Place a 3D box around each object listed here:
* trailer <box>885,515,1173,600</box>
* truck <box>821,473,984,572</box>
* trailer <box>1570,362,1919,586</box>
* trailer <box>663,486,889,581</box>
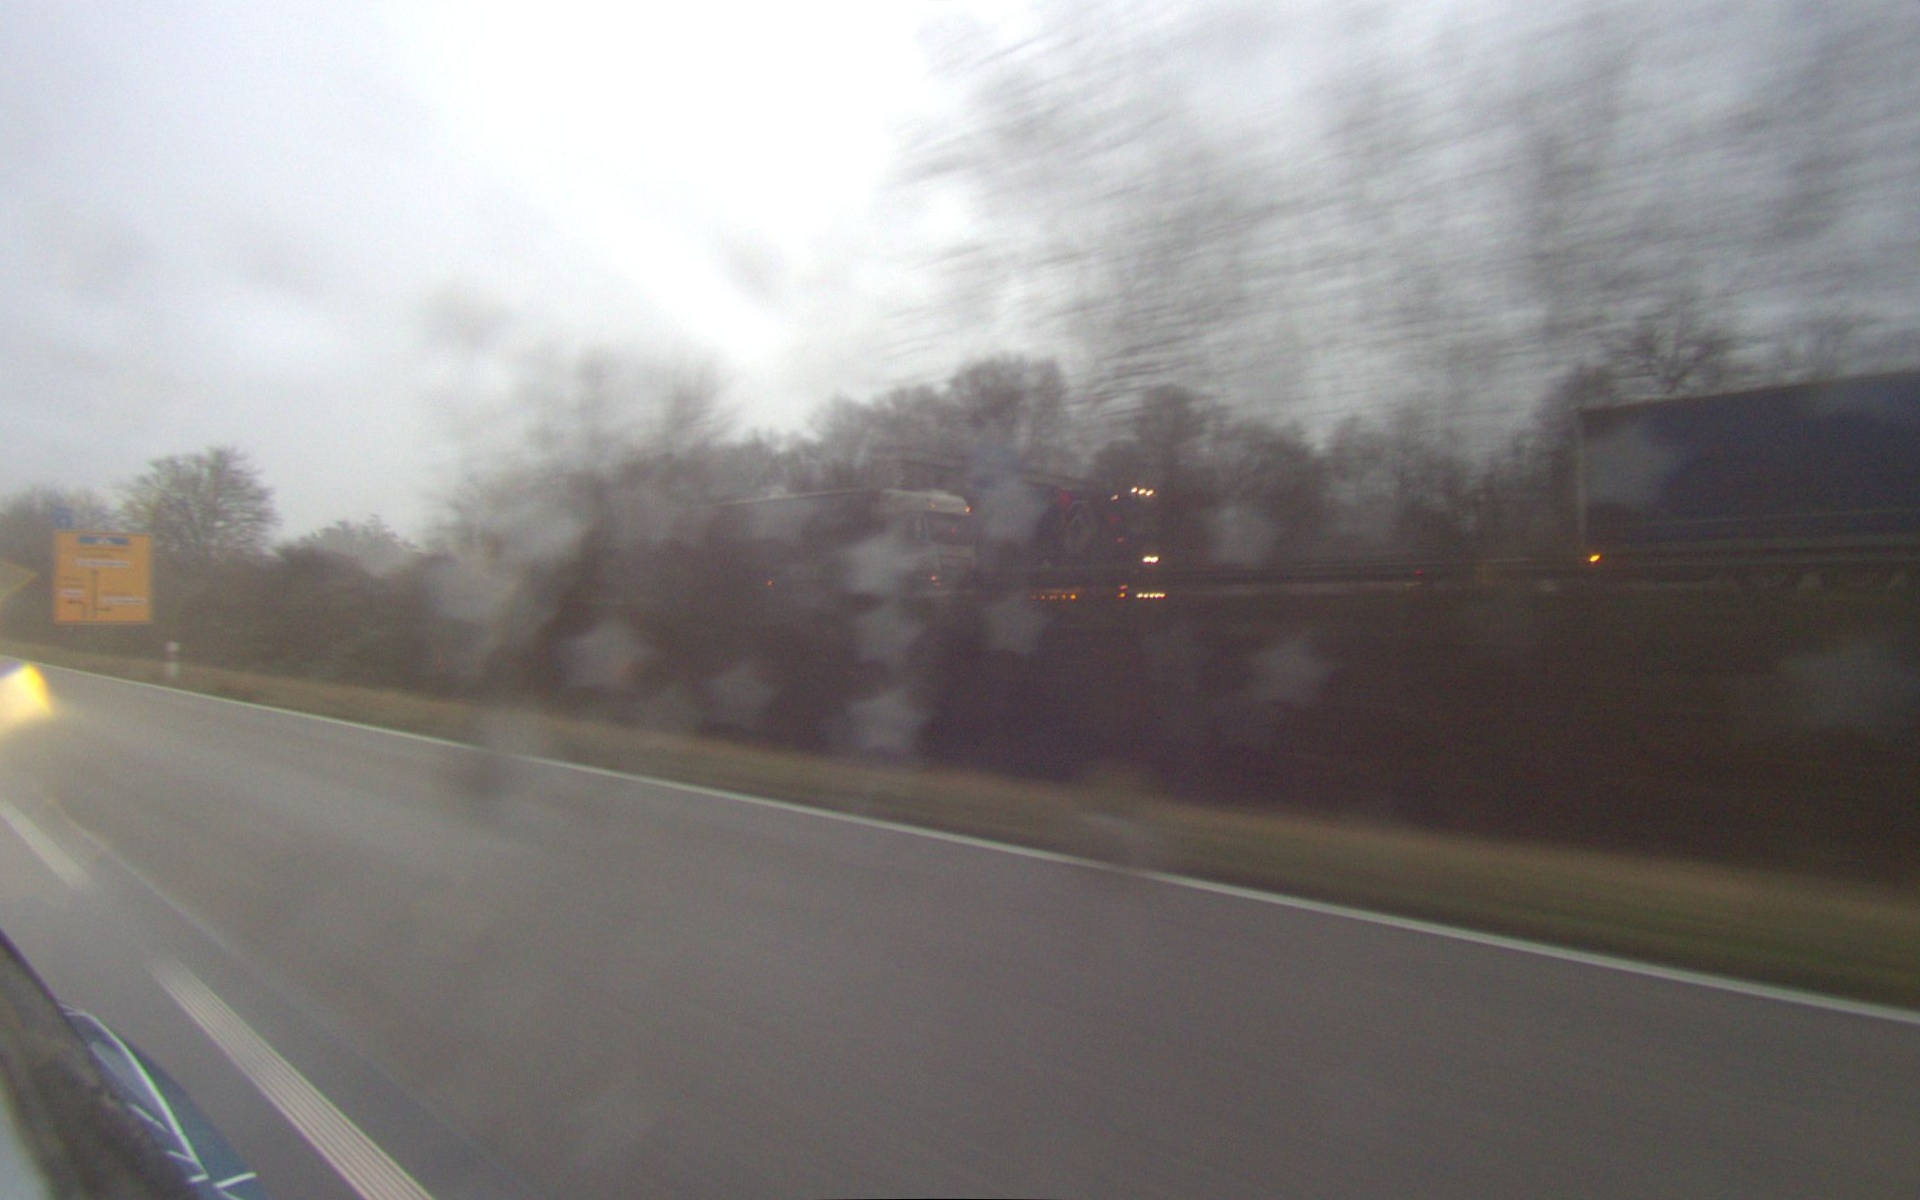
[{"bbox_3d":[2.134,-1.364,37.426,11.497,2.443,2.482,-2,-2,42],"label":"trailer"},{"bbox_3d":[-2.073,-2.564,35.236,5.580,2.909,2.424,-2,-2,41],"label":"truck"},{"bbox_3d":[17.988,-2.317,18.470,11.379,3.661,2.967,-2,-2,41],"label":"trailer"},{"bbox_3d":[-7.592,-2.411,40.051,11.079,2.913,2.410,-2,-2,41],"label":"trailer"}]
